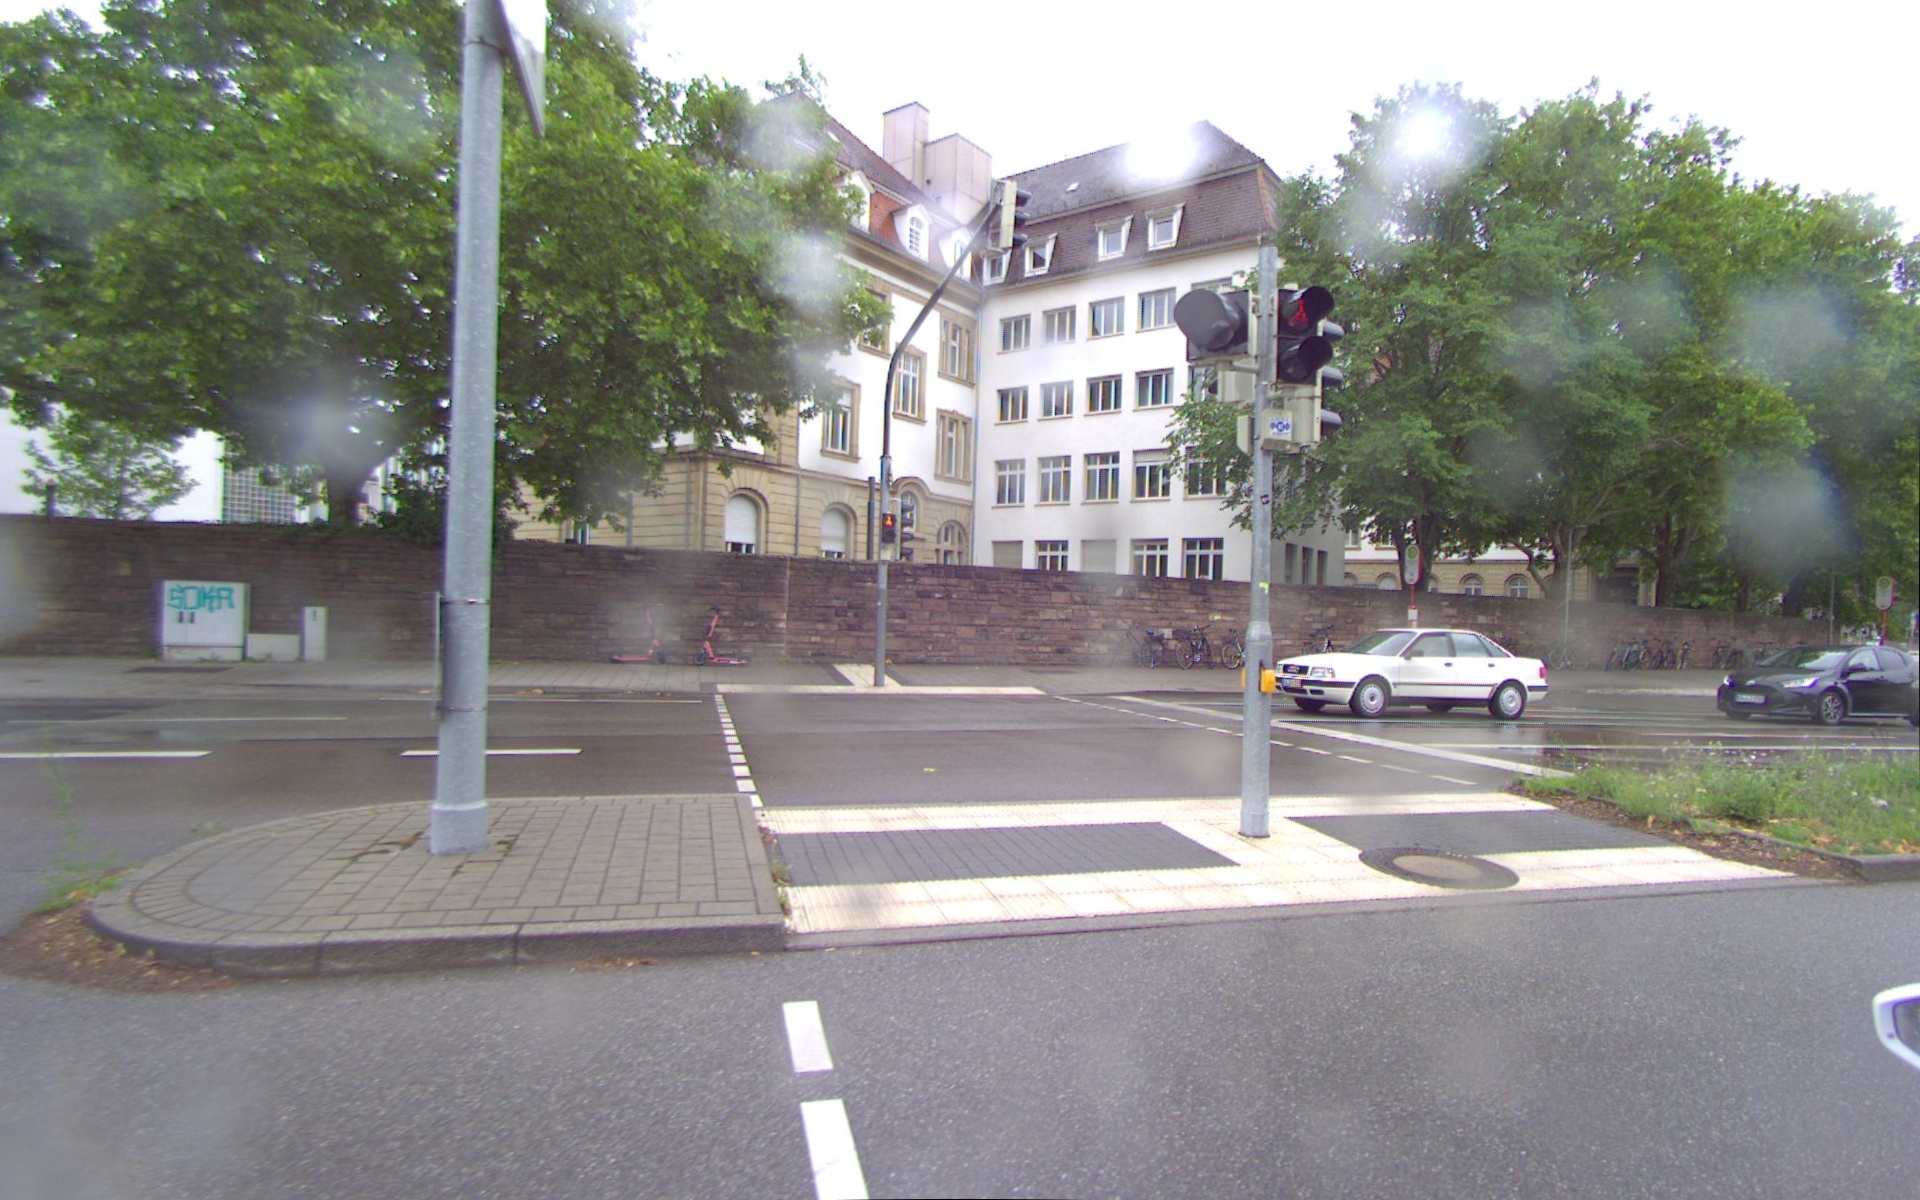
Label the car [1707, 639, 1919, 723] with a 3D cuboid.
[{"bbox_3d":[16.199,1.493,18.672,3.999,1.434,1.624,2,-2,-16],"label":"car"}]

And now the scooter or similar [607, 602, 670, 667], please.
[{"bbox_3d":[-6.352,0.692,19.854,1.125,1.214,0.390,2,6,-22],"label":"scooter or similar"}]

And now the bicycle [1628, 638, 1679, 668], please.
[{"bbox_3d":[24.211,1.862,35.061,1.680,0.996,0.728,2,0,-28],"label":"bicycle"}]

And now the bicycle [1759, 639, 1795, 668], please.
[{"bbox_3d":[34.011,2.239,41.814,1.970,1.151,0.569,2,0,-33],"label":"bicycle"}]

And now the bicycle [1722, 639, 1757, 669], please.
[{"bbox_3d":[30.509,2.107,39.310,1.972,1.151,0.569,2,0,-37],"label":"bicycle"}]

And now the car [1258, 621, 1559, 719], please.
[{"bbox_3d":[7.196,1.116,16.160,4.450,1.434,1.596,2,-2,-16],"label":"car"}]

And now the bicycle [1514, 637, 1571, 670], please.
[{"bbox_3d":[18.394,1.687,31.715,1.680,0.996,0.728,2,0,-28],"label":"bicycle"}]

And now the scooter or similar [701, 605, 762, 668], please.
[{"bbox_3d":[-4.666,0.750,20.497,1.126,1.214,0.390,2,6,-23],"label":"scooter or similar"}]

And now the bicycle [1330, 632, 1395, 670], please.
[{"bbox_3d":[11.104,1.410,27.730,1.680,0.996,0.728,2,0,-28],"label":"bicycle"}]

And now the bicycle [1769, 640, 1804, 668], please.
[{"bbox_3d":[35.545,2.324,43.173,1.970,1.151,0.569,2,0,-33],"label":"bicycle"}]

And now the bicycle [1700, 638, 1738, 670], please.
[{"bbox_3d":[28.608,2.034,37.853,1.972,1.151,0.569,2,0,-37],"label":"bicycle"}]

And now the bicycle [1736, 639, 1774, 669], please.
[{"bbox_3d":[32.125,2.169,40.582,1.970,1.151,0.569,2,0,-33],"label":"bicycle"}]

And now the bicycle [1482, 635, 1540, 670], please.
[{"bbox_3d":[16.912,1.618,30.846,1.680,0.996,0.728,2,0,-28],"label":"bicycle"}]

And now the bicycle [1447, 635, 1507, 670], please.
[{"bbox_3d":[15.425,1.564,29.956,1.680,0.996,0.728,2,0,-28],"label":"bicycle"}]

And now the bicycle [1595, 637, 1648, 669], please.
[{"bbox_3d":[21.779,1.759,33.074,1.680,0.996,0.728,2,0,-28],"label":"bicycle"}]

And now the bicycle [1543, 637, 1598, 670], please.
[{"bbox_3d":[19.614,1.730,32.259,1.680,0.996,0.728,2,0,-28],"label":"bicycle"}]

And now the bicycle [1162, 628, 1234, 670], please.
[{"bbox_3d":[5.994,1.230,25.266,1.680,0.996,0.728,2,0,-28],"label":"bicycle"}]

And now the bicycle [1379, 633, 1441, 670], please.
[{"bbox_3d":[12.928,1.477,28.861,1.680,0.996,0.728,2,0,-28],"label":"bicycle"}]

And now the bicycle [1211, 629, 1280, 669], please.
[{"bbox_3d":[7.446,1.283,26.183,1.680,0.996,0.728,2,0,-28],"label":"bicycle"}]

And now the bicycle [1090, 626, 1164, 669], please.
[{"bbox_3d":[4.097,1.166,24.661,1.680,0.996,0.728,2,0,-28],"label":"bicycle"}]

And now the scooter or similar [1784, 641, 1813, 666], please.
[{"bbox_3d":[36.722,2.345,43.996,1.347,1.060,0.569,2,0,-33],"label":"scooter or similar"}]

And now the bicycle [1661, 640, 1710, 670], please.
[{"bbox_3d":[26.040,1.969,36.060,1.680,0.996,0.728,2,0,-28],"label":"bicycle"}]

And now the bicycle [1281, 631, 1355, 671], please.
[{"bbox_3d":[9.520,1.351,26.729,1.838,0.996,0.729,2,0,-23],"label":"bicycle"}]
